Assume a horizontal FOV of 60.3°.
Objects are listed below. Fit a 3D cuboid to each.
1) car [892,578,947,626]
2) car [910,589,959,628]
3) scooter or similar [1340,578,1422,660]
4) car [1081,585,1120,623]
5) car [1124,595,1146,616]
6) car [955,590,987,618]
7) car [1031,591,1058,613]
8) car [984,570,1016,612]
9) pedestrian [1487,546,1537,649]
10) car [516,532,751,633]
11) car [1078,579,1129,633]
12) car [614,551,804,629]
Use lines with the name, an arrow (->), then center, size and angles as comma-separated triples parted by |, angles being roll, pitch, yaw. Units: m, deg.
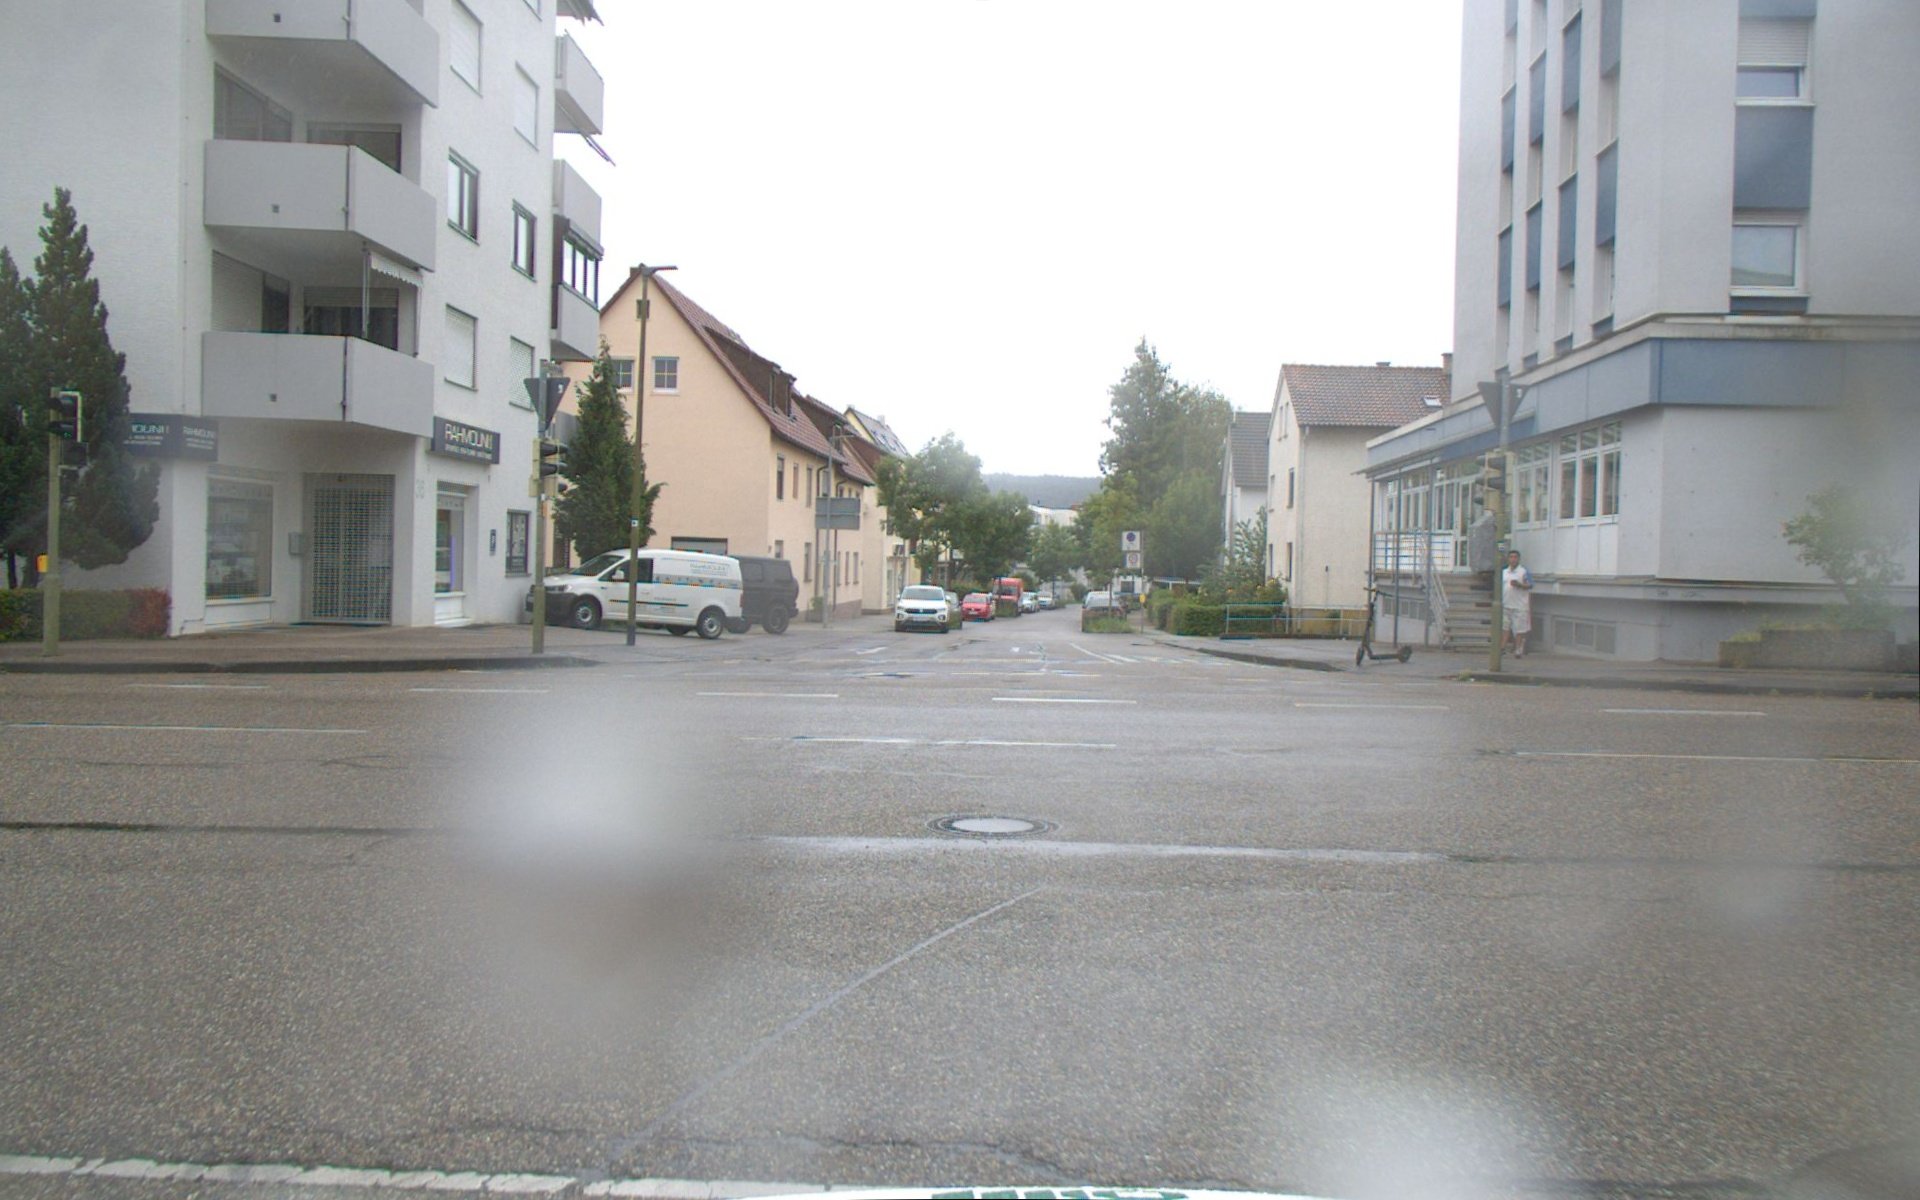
car -> -1.337, 0.082, 55.930 | 1.731, 1.550, 4.000 | 0, 0, 1
car -> -1.013, 0.337, 67.394 | 1.730, 1.545, 4.195 | 0, 0, 3
scooter or similar -> 6.681, 0.313, 26.265 | 1.038, 1.249, 0.800 | 1, -3, -7
car -> 7.786, 0.216, 91.421 | 1.951, 2.049, 4.003 | 0, 0, 7
car -> 16.785, 0.539, 158.375 | 1.951, 2.049, 4.003 | 0, 0, 7
car -> 0.610, 0.218, 92.296 | 1.731, 1.545, 3.999 | 0, 0, -1
car -> 7.264, 0.168, 141.669 | 1.951, 1.736, 4.002 | 0, -2, 9
car -> 2.804, -0.592, 115.436 | 2.170, 2.817, 5.726 | 0, 0, 2
pedestrian -> 9.132, -0.032, 27.373 | 0.640, 1.681, 0.646 | 1, -3, 2
car -> -7.046, -0.329, 35.969 | 4.678, 1.809, 1.750 | 5, -3, -37
car -> 6.047, 0.277, 69.203 | 1.951, 2.049, 4.002 | 0, -2, 7
car -> -6.505, -0.221, 43.131 | 4.572, 1.922, 1.938 | 1, -1, -37
